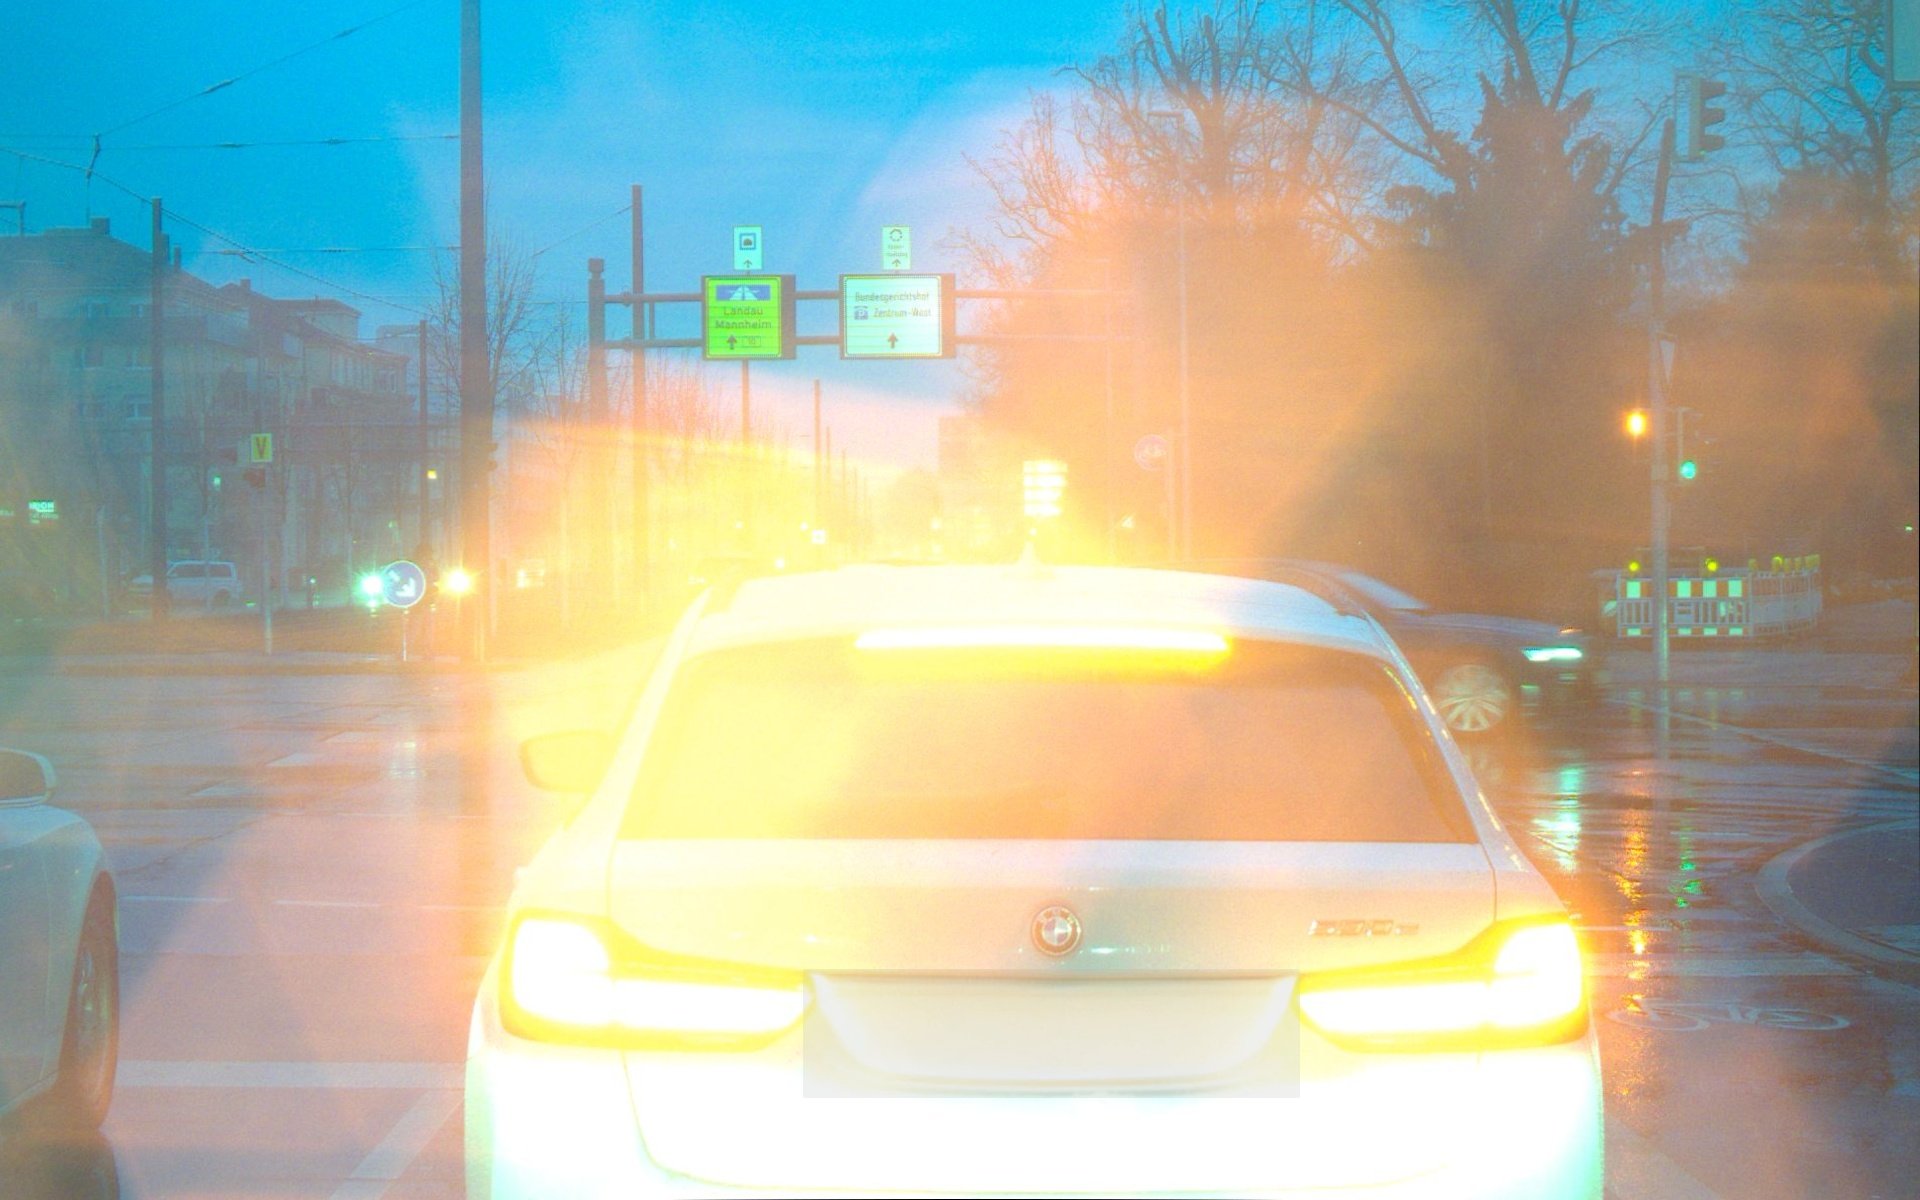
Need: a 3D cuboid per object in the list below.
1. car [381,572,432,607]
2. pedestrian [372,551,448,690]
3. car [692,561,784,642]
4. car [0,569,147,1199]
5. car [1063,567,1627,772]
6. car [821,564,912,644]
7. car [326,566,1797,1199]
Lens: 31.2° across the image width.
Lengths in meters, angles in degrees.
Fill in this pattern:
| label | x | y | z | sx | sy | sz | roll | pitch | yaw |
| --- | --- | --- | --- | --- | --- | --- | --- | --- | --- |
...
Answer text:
| label | x | y | z | sx | sy | sz | roll | pitch | yaw |
| --- | --- | --- | --- | --- | --- | --- | --- | --- | --- |
| car | -24.165 | -0.448 | 150.228 | 1.675 | 1.502 | 3.696 | 1 | 0 | -1 |
| pedestrian | -7.464 | 0.280 | 46.641 | 0.902 | 1.850 | 0.812 | 1 | 0 | -15 |
| car | -4.637 | 0.034 | 71.565 | 1.842 | 1.603 | 3.945 | 1 | 0 | -4 |
| car | -3.097 | 0.678 | 7.061 | 1.993 | 1.451 | 4.369 | 0 | 1 | -2 |
| car | 3.196 | 0.543 | 28.477 | 4.317 | 1.525 | 1.761 | 1 | 0 | 21 |
| car | -1.976 | 0.084 | 72.413 | 1.843 | 1.603 | 3.945 | 1 | 0 | -2 |
| car | 0.048 | 0.680 | 6.843 | 1.993 | 1.451 | 4.369 | 0 | 1 | -2 |
